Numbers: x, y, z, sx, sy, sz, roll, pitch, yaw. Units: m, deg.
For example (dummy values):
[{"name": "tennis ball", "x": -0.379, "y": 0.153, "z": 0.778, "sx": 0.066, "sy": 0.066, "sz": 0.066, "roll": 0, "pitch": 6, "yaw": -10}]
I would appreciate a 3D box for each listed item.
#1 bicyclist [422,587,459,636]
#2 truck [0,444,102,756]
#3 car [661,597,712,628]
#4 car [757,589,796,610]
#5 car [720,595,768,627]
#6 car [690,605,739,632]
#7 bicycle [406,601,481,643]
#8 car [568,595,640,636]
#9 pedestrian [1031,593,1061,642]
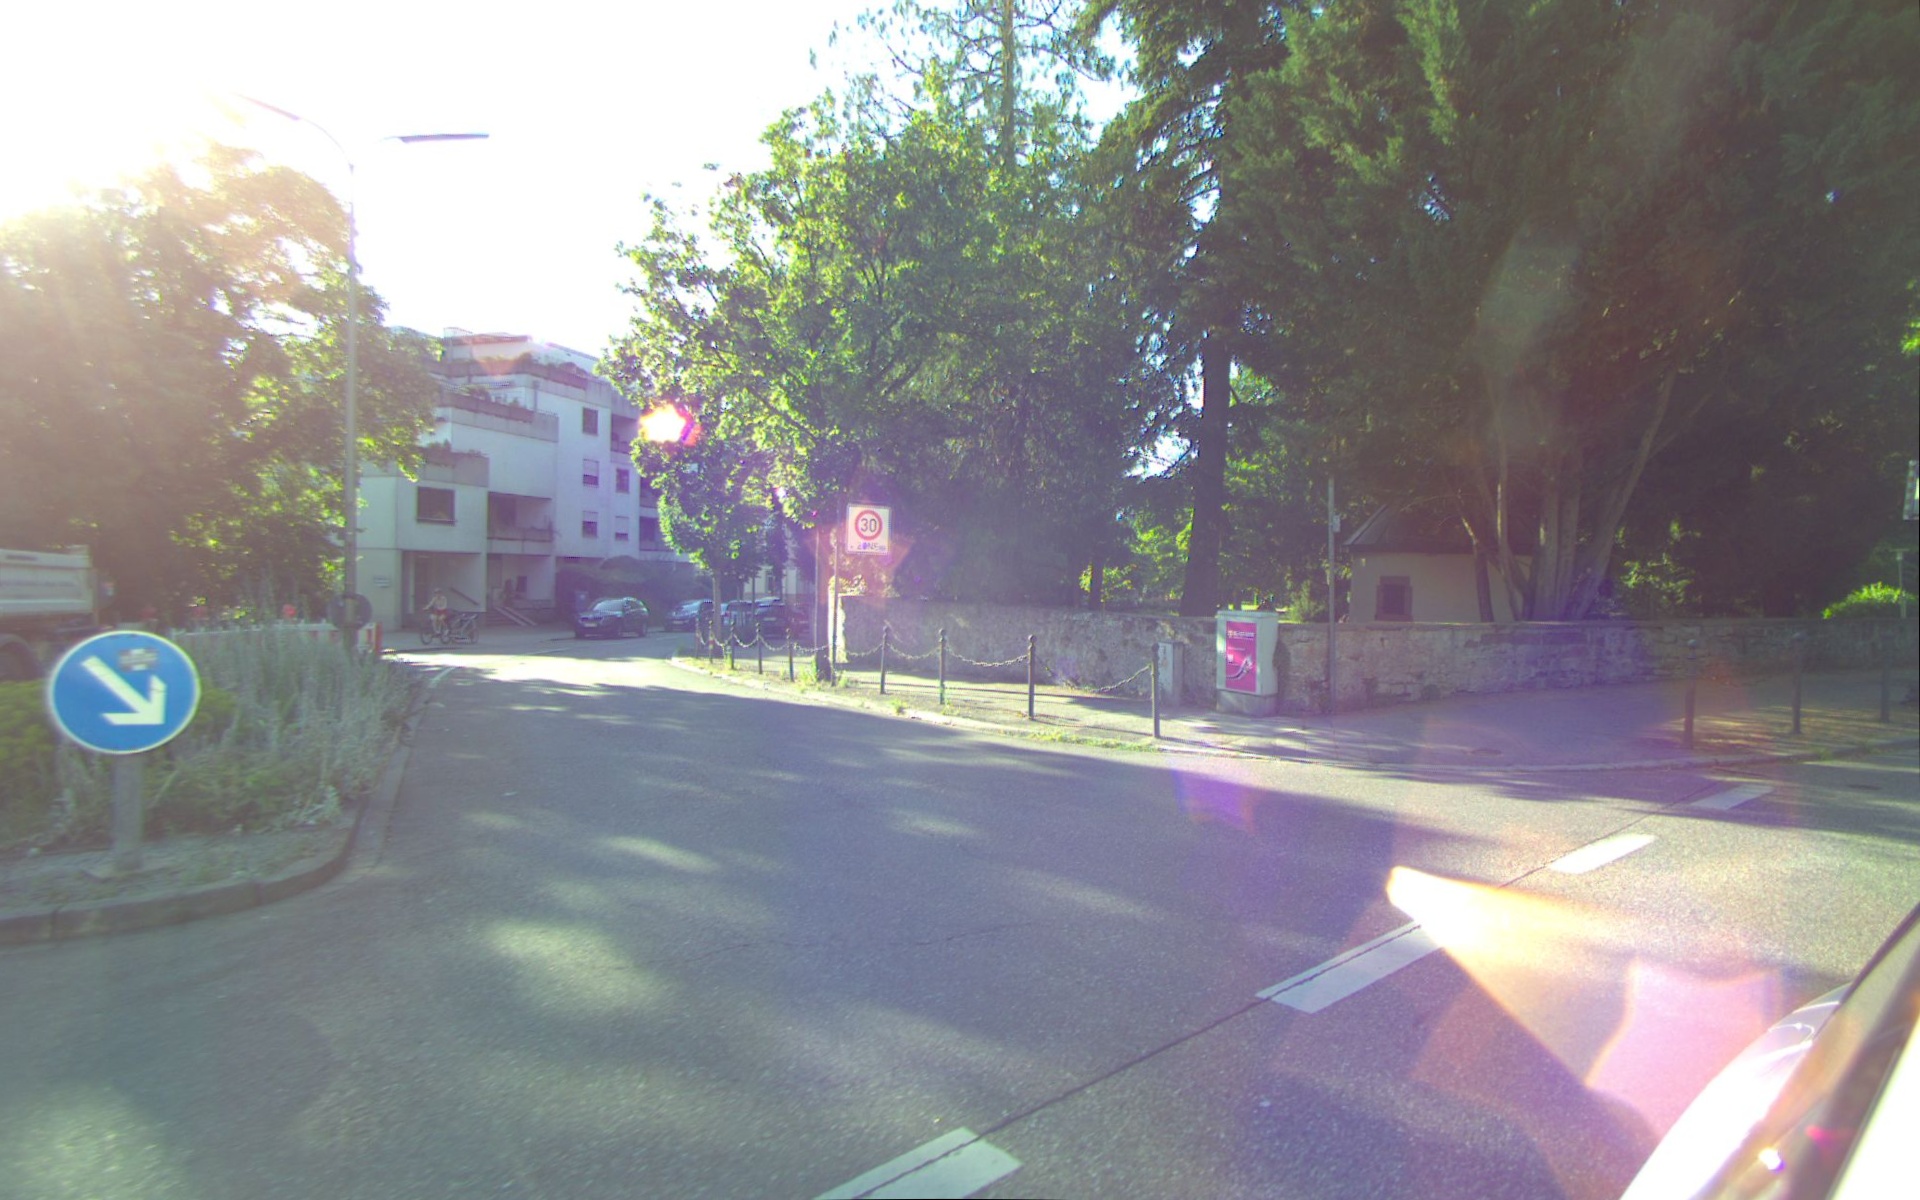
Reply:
[{"name": "bicyclist", "x": -16.732, "y": 0.368, "z": 32.606, "sx": 0.747, "sy": 1.504, "sz": 0.643, "roll": 4, "pitch": 0, "yaw": 4}, {"name": "truck", "x": -9.765, "y": 0.001, "z": 8.239, "sx": 2.382, "sy": 2.931, "sz": 6.620, "roll": 0, "pitch": 0, "yaw": -23}, {"name": "car", "x": -14.123, "y": 0.636, "z": 52.429, "sx": 1.802, "sy": 1.542, "sz": 3.917, "roll": 0, "pitch": 0, "yaw": -3}, {"name": "car", "x": -12.682, "y": -0.060, "z": 70.095, "sx": 1.724, "sy": 1.429, "sz": 3.593, "roll": 0, "pitch": 0, "yaw": 6}, {"name": "car", "x": -10.718, "y": 0.509, "z": 50.415, "sx": 1.802, "sy": 1.542, "sz": 3.917, "roll": 0, "pitch": 0, "yaw": -3}, {"name": "car", "x": -13.884, "y": 1.042, "z": 57.308, "sx": 1.723, "sy": 1.429, "sz": 3.595, "roll": 0, "pitch": 0, "yaw": 4}, {"name": "bicycle", "x": -16.731, "y": 0.696, "z": 32.871, "sx": 0.750, "sy": 1.222, "sz": 2.839, "roll": 5, "pitch": 0, "yaw": 3}, {"name": "car", "x": -14.548, "y": 0.595, "z": 41.589, "sx": 1.802, "sy": 1.605, "sz": 4.025, "roll": 0, "pitch": 0, "yaw": -4}, {"name": "pedestrian", "x": 2.636, "y": 0.528, "z": 31.040, "sx": 0.661, "sy": 1.470, "sz": 0.603, "roll": 0, "pitch": -1, "yaw": -30}]
